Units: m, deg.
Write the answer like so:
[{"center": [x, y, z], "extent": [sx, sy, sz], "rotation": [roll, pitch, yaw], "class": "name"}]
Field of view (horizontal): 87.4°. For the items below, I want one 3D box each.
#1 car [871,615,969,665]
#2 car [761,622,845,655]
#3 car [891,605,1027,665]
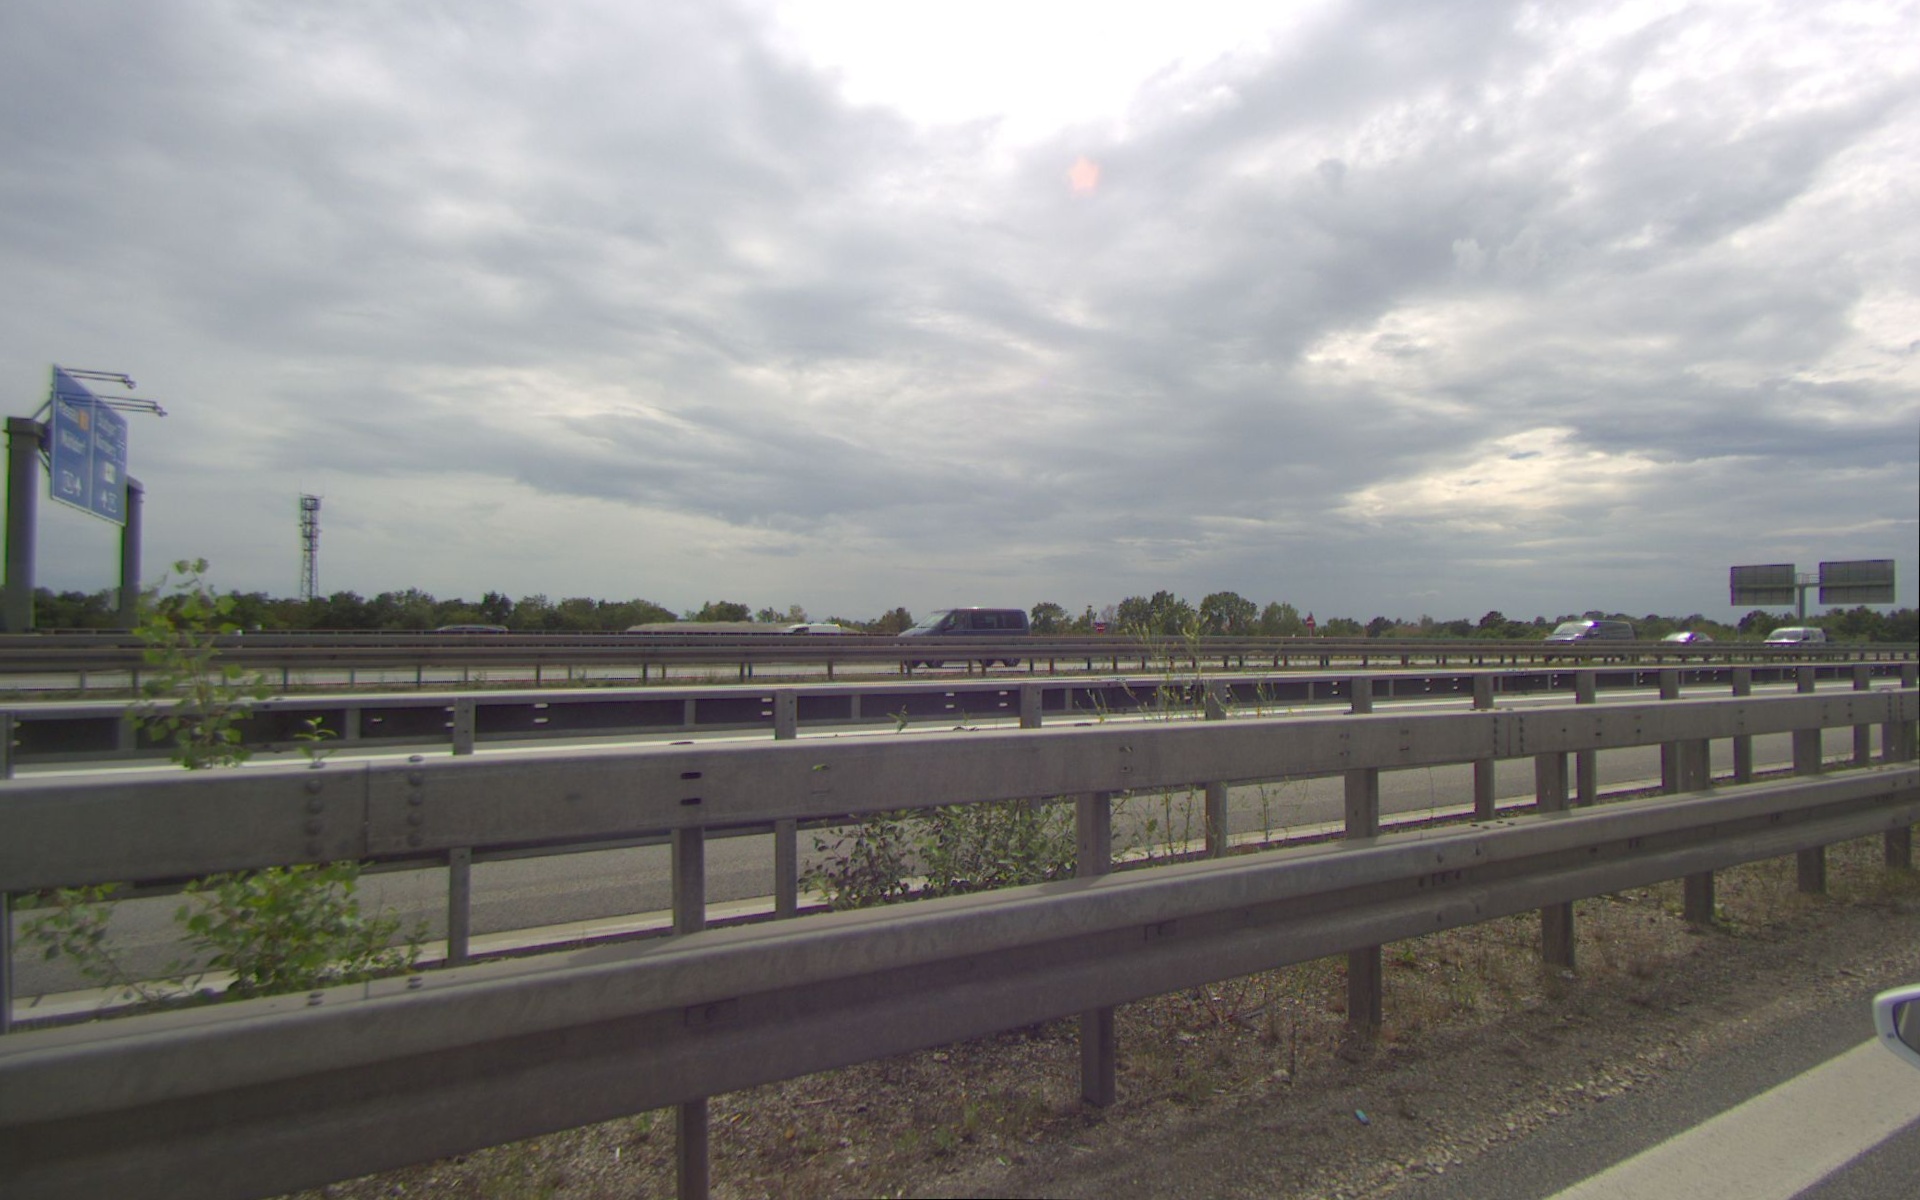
[{"center": [-1.968, 1.941, 49.993], "extent": [4.438, 2.337, 1.984], "rotation": [1, 0, -31], "class": "car"}, {"center": [-8.042, 1.985, 51.421], "extent": [3.865, 1.516, 1.657], "rotation": [2, 2, -31], "class": "car"}, {"center": [-0.008, 1.138, 33.785], "extent": [4.173, 1.840, 1.897], "rotation": [1, 1, -30], "class": "car"}]
